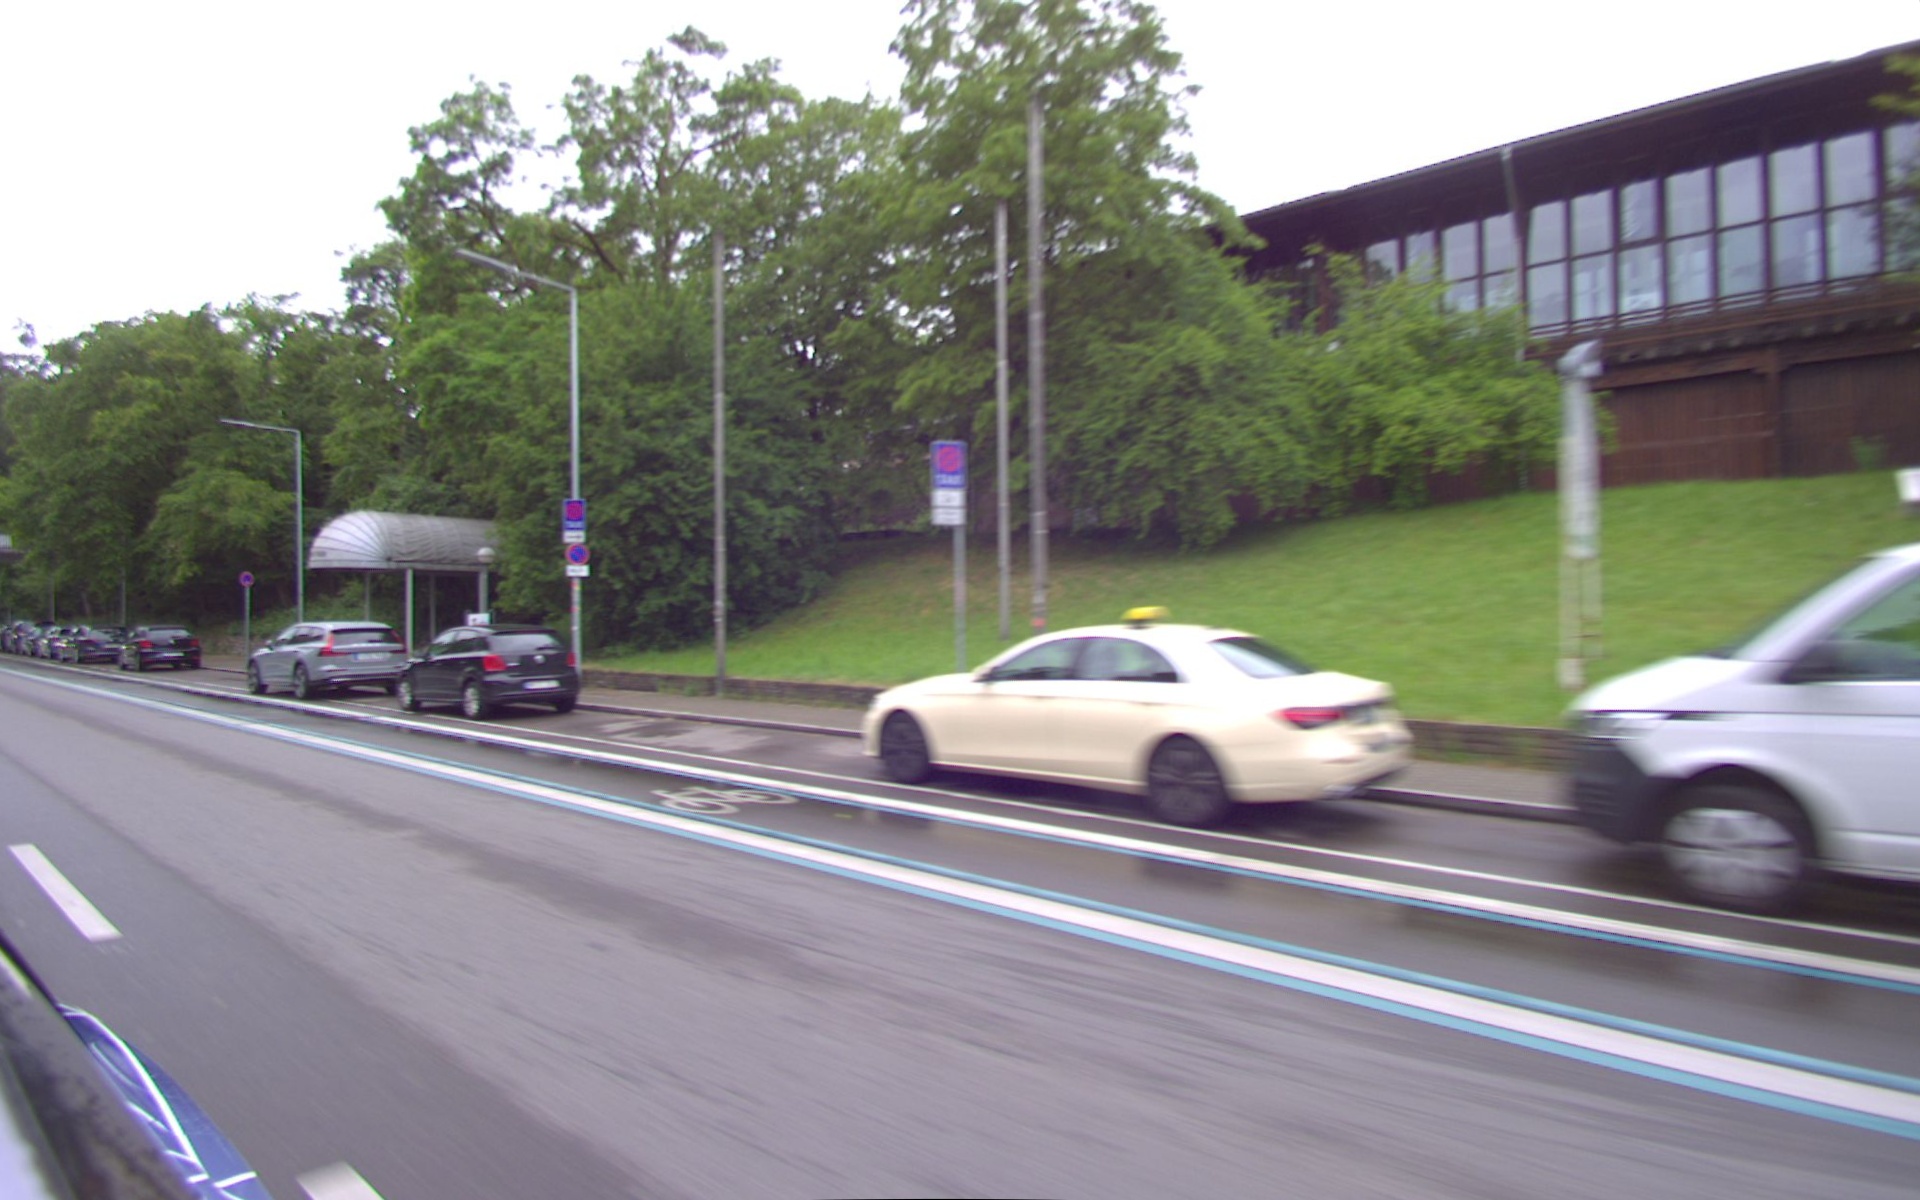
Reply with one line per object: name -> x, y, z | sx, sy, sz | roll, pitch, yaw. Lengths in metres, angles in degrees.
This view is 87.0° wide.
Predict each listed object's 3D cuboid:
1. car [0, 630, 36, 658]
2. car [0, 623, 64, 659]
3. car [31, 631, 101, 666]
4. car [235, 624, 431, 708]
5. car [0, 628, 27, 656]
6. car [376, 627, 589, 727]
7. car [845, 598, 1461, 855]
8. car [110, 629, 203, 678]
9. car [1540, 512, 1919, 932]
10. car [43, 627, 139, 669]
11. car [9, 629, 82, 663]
car -> -52.229, 2.431, 55.737 | 3.841, 1.450, 1.593 | -2, -2, 41
car -> -48.089, 2.138, 52.339 | 4.834, 1.755, 1.970 | -2, -2, 40
car -> -39.157, 2.116, 44.296 | 4.293, 1.434, 1.765 | -2, -2, 41
car -> -13.090, 1.289, 21.022 | 4.668, 1.493, 2.056 | -2, -1, 39
car -> -55.582, 2.467, 58.697 | 4.229, 1.558, 1.670 | -2, -2, 40
car -> -7.998, 1.178, 16.801 | 4.051, 1.448, 1.678 | -1, -2, 40
car -> 1.385, 0.855, 8.810 | 4.983, 1.618, 1.969 | -1, -2, 42
car -> -26.405, 1.715, 33.224 | 3.990, 1.468, 1.654 | -2, -2, 40
car -> 5.772, 0.541, 4.821 | 4.924, 1.946, 1.893 | -2, -2, 40
car -> -33.648, 1.840, 39.138 | 4.750, 1.474, 1.937 | -2, -1, 38
car -> -43.593, 2.191, 48.199 | 4.894, 1.484, 1.963 | -2, -1, 40
